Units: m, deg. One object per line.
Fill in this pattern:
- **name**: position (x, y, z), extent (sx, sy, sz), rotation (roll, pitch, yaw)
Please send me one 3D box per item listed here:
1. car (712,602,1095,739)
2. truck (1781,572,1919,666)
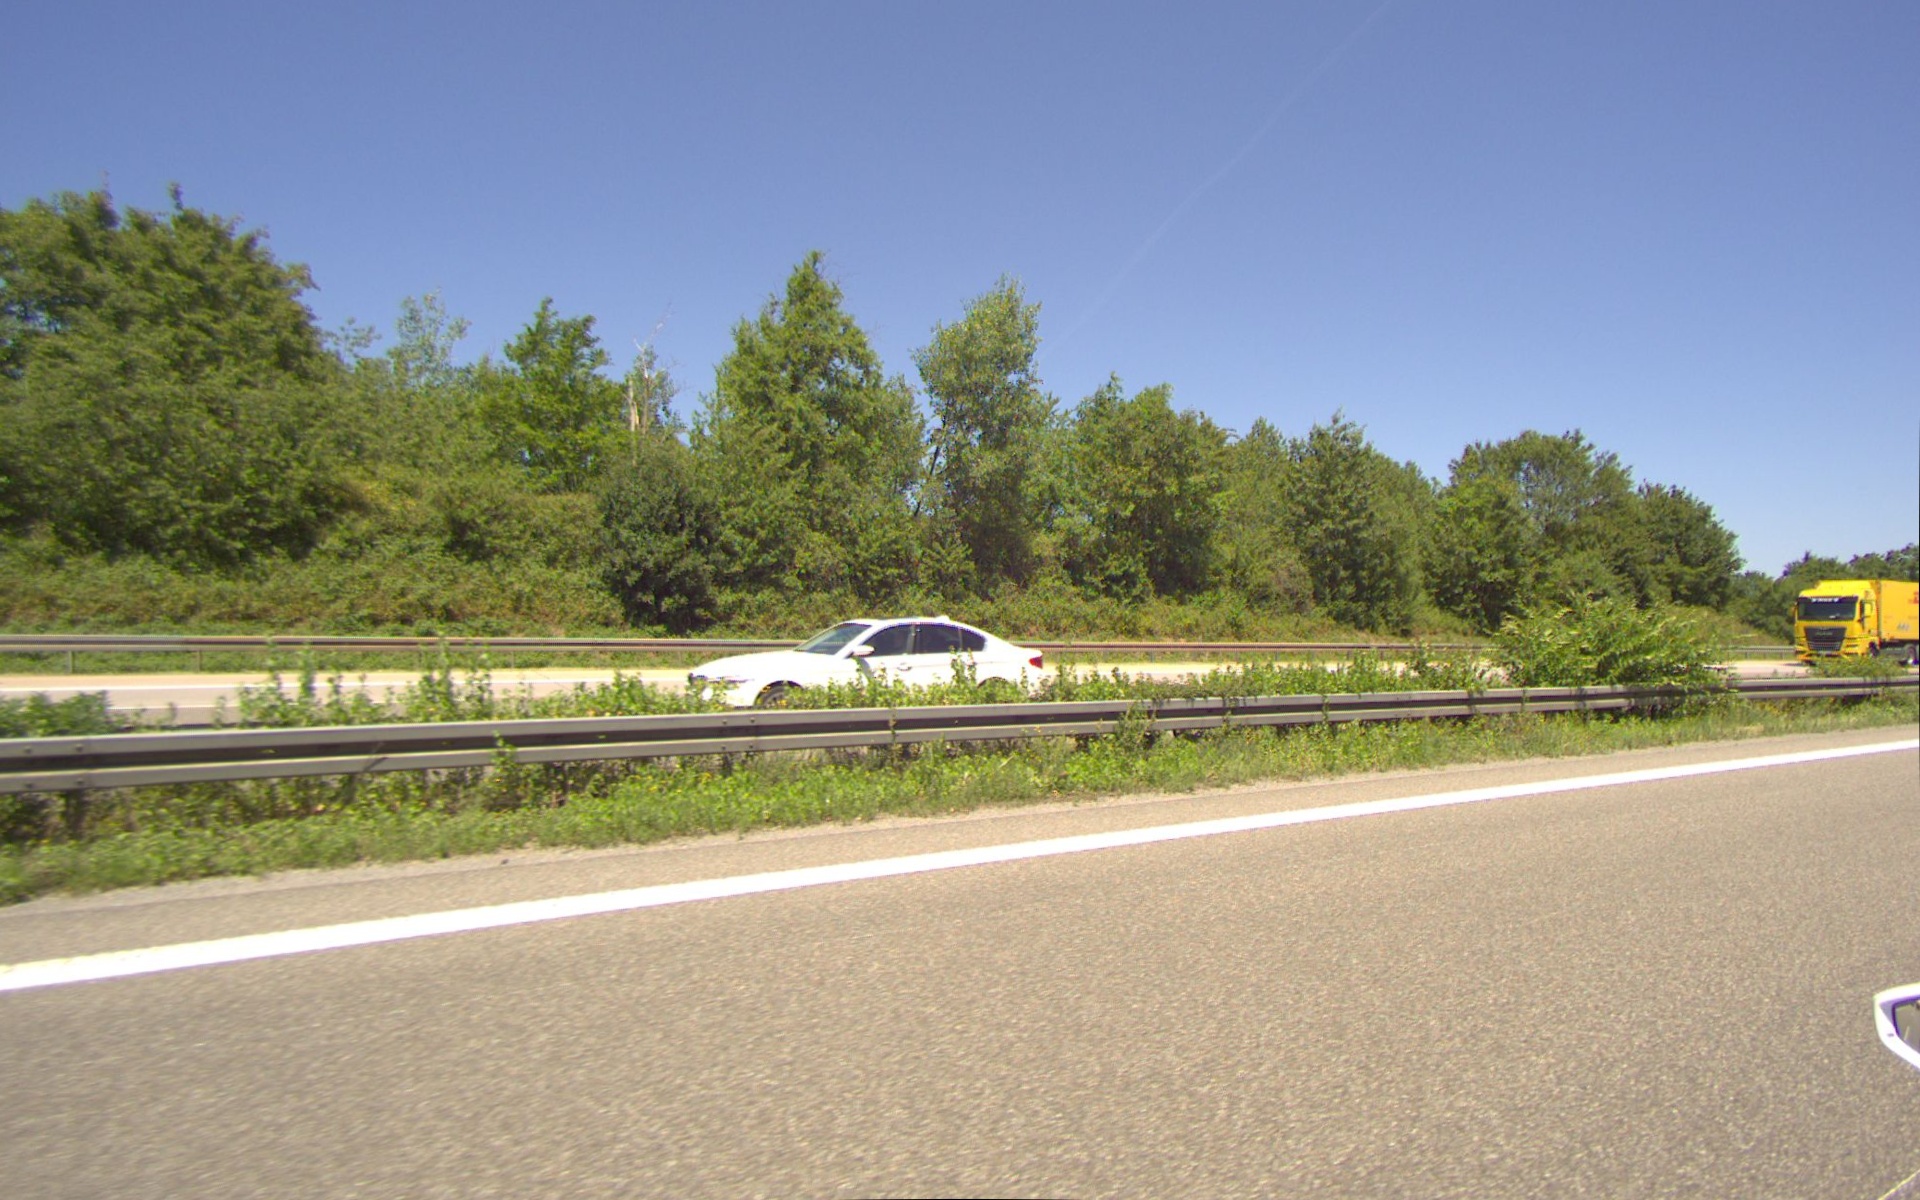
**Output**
- **car**: position (-0.668, 0.864, 13.538), extent (4.864, 1.556, 1.829), rotation (2, -1, -31)
- **truck**: position (43.646, 1.021, 48.342), extent (10.664, 4.093, 2.737), rotation (2, -1, -30)
